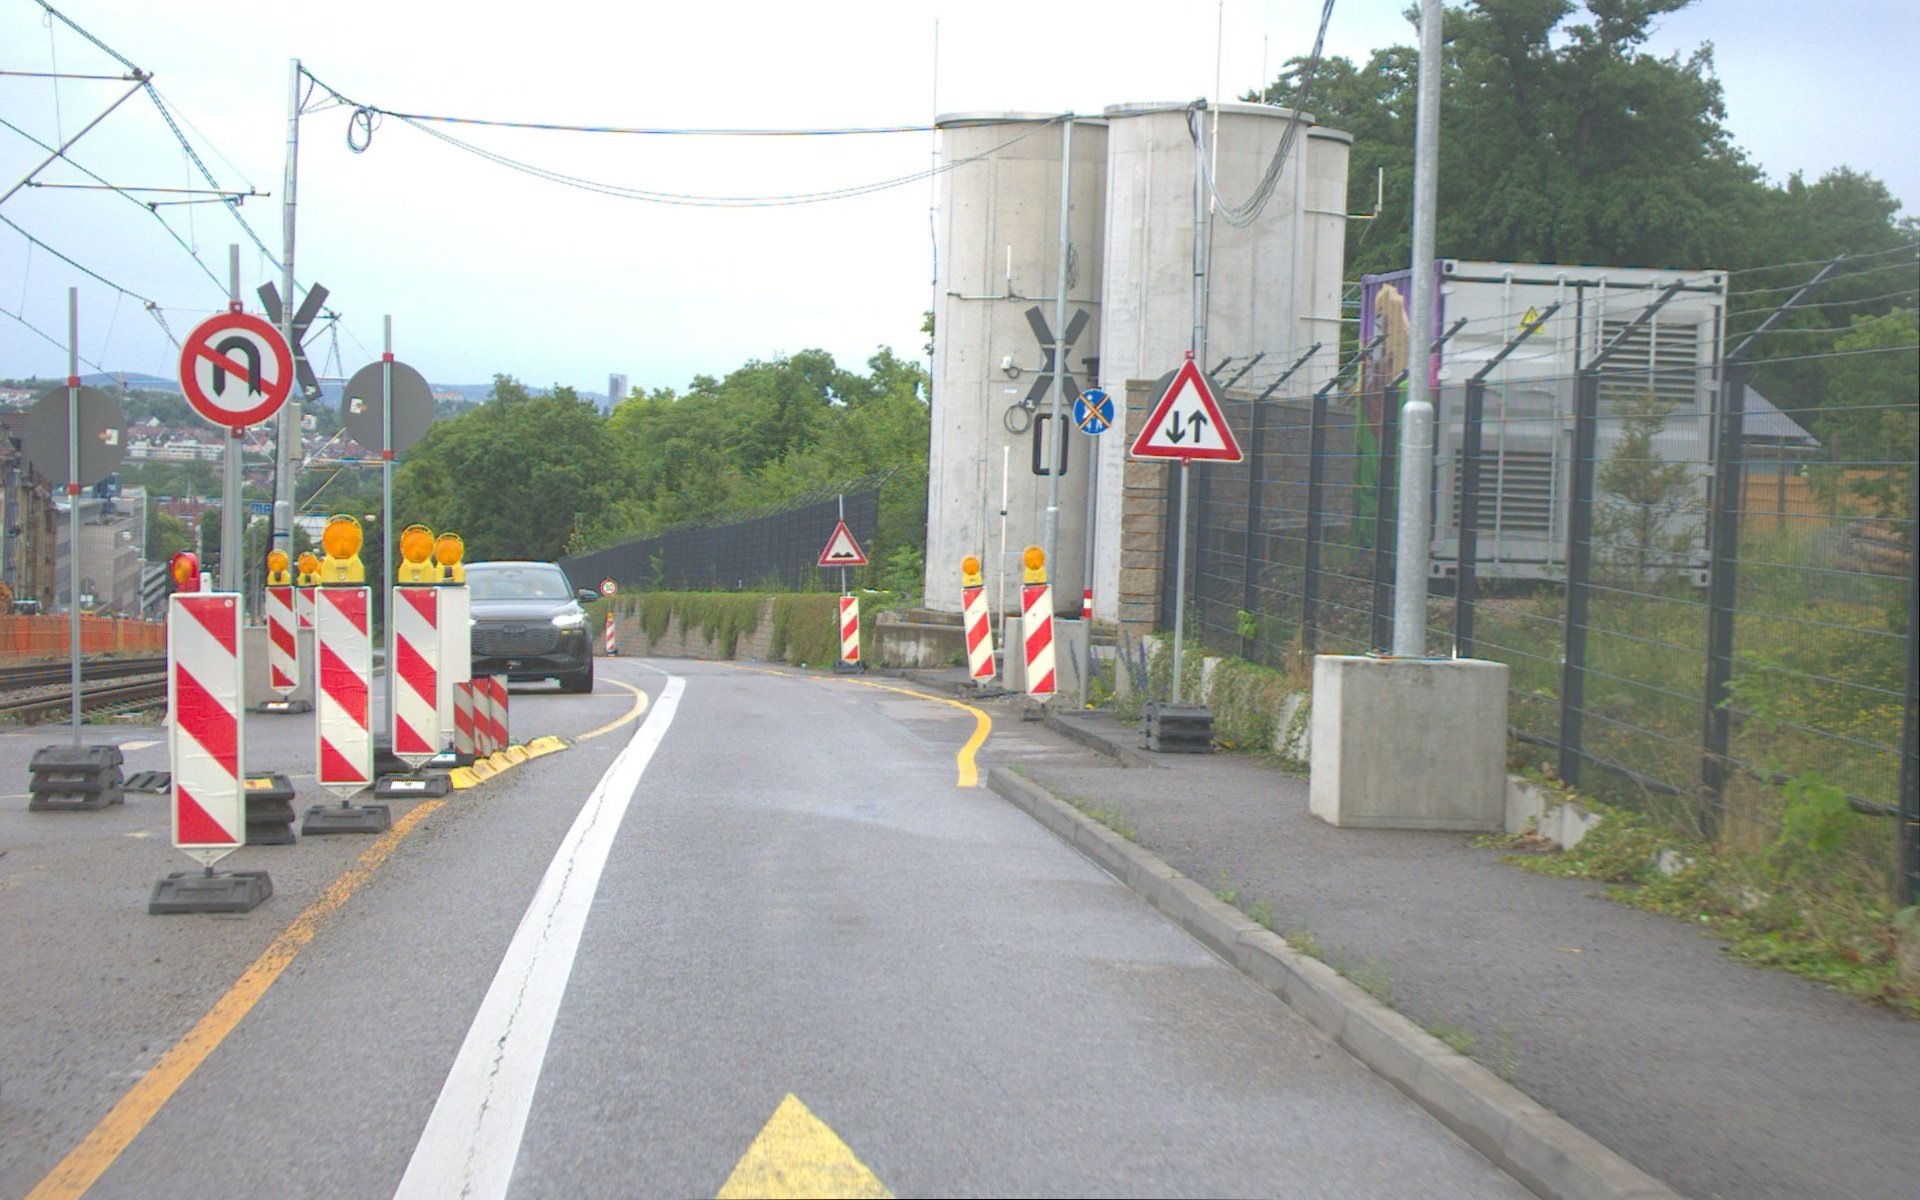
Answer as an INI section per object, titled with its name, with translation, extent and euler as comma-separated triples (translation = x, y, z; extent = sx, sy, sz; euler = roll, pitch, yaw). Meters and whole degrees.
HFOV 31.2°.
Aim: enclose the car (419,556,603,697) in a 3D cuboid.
[car]
translation = -5.758, 0.315, 43.699
extent = 1.993, 1.672, 4.490
euler = 1, 0, -11
